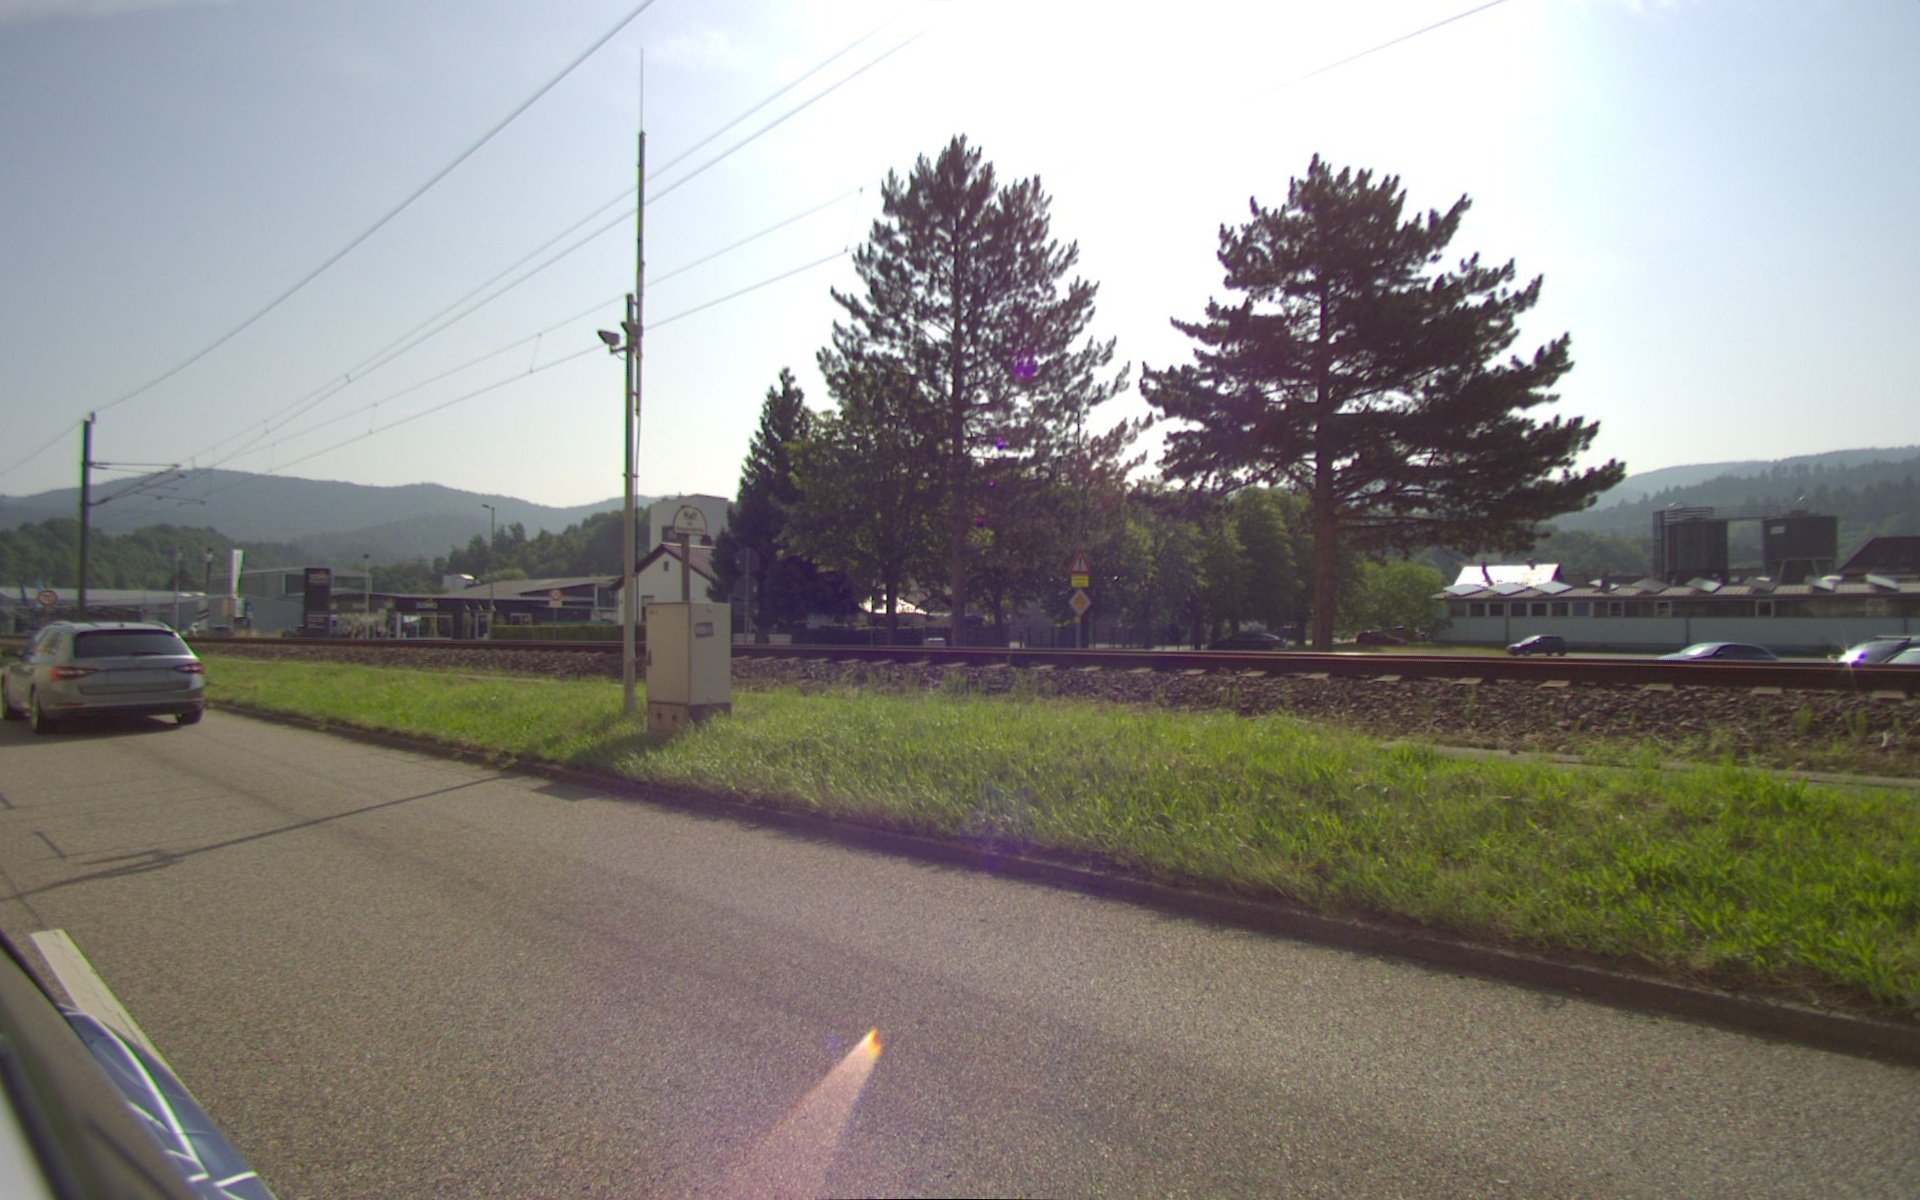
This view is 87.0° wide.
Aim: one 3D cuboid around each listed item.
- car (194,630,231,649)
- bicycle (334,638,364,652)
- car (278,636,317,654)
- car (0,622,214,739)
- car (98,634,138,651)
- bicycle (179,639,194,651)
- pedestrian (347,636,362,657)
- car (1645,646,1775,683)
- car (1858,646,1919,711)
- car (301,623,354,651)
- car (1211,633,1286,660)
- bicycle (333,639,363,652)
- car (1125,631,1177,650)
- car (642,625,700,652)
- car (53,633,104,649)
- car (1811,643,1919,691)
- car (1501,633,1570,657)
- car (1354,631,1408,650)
[{"bbox_3d":[-71.385,3.779,96.636,4.359,1.701,1.506,-1,-1,34],"label":"car"},{"bbox_3d":[-51.803,3.781,85.839,0.726,1.139,2.154,-1,-2,27],"label":"bicycle"},{"bbox_3d":[-66.867,4.518,102.128,3.990,1.676,1.852,0,-1,34],"label":"car"},{"bbox_3d":[-12.300,1.050,14.388,4.293,1.416,1.750,-2,-3,40],"label":"car"},{"bbox_3d":[-93.049,4.644,111.929,1.636,1.634,4.041,-2,1,-12],"label":"car"},{"bbox_3d":[-63.517,3.695,83.099,1.706,0.930,0.540,-2,-3,36],"label":"bicycle"},{"bbox_3d":[-38.899,2.976,64.969,0.672,1.342,0.569,-1,-2,32],"label":"pedestrian"},{"bbox_3d":[28.531,2.435,38.575,3.793,1.342,1.690,0,-2,-6],"label":"car"},{"bbox_3d":[23.721,1.828,23.743,3.796,1.454,1.689,0,-2,-2],"label":"car"},{"bbox_3d":[-65.716,3.808,105.094,6.146,2.653,2.352,1,-1,35],"label":"car"},{"bbox_3d":[17.237,2.747,60.479,3.987,1.560,1.666,-1,-3,32],"label":"car"},{"bbox_3d":[-53.318,3.972,88.207,0.726,1.139,2.154,-1,-2,27],"label":"bicycle"},{"bbox_3d":[14.772,3.137,78.398,3.955,1.464,1.465,0,-2,10],"label":"car"},{"bbox_3d":[-14.749,1.943,51.618,2.890,1.362,1.378,-1,-3,37],"label":"car"},{"bbox_3d":[-97.856,4.576,112.383,1.659,1.539,3.924,-2,1,34],"label":"car"},{"bbox_3d":[28.977,2.065,31.461,3.792,1.417,1.691,0,-2,-8],"label":"car"},{"bbox_3d":[40.037,3.137,70.491,3.801,1.655,1.686,0,-2,3],"label":"car"},{"bbox_3d":[34.259,3.293,82.321,3.843,1.492,1.477,-1,-2,35],"label":"car"}]
